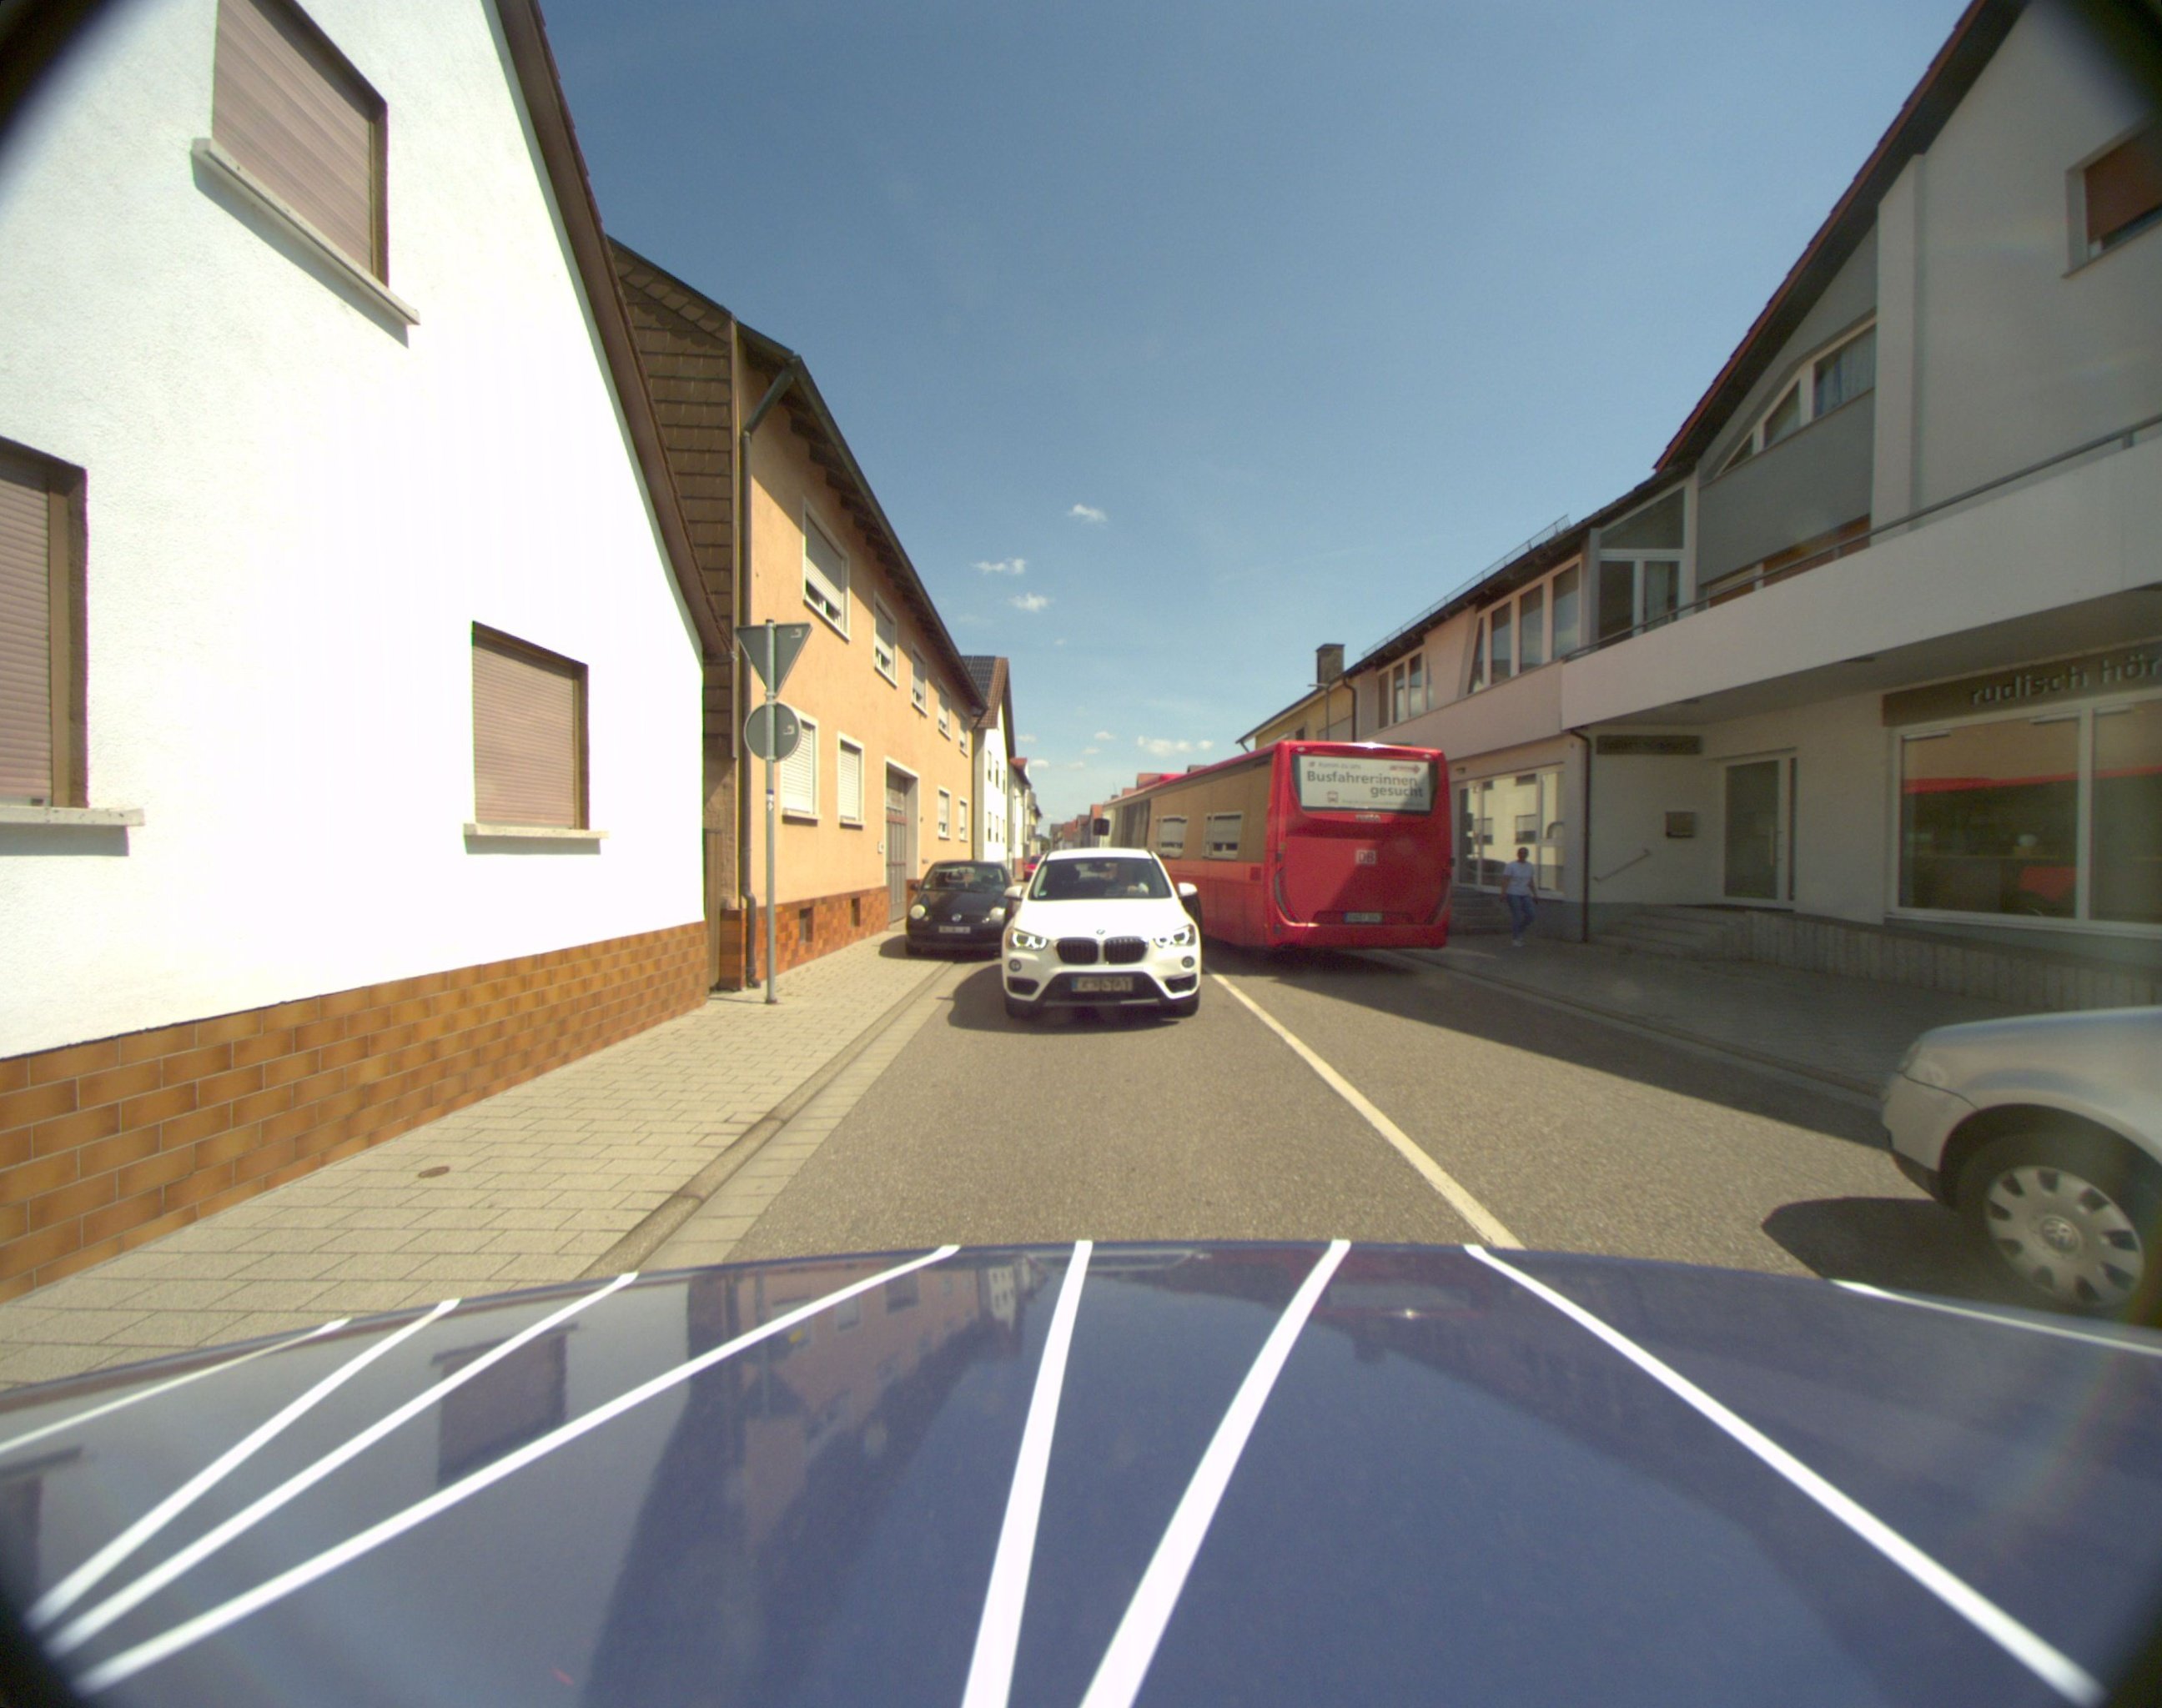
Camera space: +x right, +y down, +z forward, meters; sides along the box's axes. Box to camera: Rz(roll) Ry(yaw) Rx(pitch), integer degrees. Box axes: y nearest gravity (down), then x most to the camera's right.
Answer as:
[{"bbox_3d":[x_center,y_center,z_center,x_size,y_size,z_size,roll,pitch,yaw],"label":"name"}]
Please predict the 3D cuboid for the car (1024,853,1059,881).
[{"bbox_3d":[-2.123,0.670,41.444,1.765,1.420,4.188,0,0,-1],"label":"car"}]

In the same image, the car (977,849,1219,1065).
[{"bbox_3d":[0.113,0.804,8.150,1.845,1.636,4.373,-2,0,-1],"label":"car"}]

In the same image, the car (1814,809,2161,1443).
[{"bbox_3d":[3.995,0.802,0.961,1.776,1.810,4.441,1,0,0],"label":"car"}]

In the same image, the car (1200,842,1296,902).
[{"bbox_3d":[4.830,0.458,22.533,1.748,1.507,3.998,-4,1,-3],"label":"car"}]

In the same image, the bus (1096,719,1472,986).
[{"bbox_3d":[2.663,-0.042,15.329,2.635,3.213,12.011,2,0,-9],"label":"bus"}]

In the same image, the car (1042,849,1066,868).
[{"bbox_3d":[-2.073,0.330,58.577,1.765,1.420,4.188,0,0,-1],"label":"car"}]

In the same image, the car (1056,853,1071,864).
[{"bbox_3d":[-2.390,0.550,100.438,1.765,1.420,4.187,0,0,-4],"label":"car"}]

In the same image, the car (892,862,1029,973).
[{"bbox_3d":[-1.804,0.912,12.402,1.690,1.454,3.628,2,0,-1],"label":"car"}]

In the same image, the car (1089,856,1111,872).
[{"bbox_3d":[1.685,0.889,68.453,1.765,1.389,3.869,1,0,-1],"label":"car"}]

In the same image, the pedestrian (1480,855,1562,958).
[{"bbox_3d":[7.159,0.827,12.405,0.757,1.575,0.956,-2,2,1],"label":"pedestrian"}]
